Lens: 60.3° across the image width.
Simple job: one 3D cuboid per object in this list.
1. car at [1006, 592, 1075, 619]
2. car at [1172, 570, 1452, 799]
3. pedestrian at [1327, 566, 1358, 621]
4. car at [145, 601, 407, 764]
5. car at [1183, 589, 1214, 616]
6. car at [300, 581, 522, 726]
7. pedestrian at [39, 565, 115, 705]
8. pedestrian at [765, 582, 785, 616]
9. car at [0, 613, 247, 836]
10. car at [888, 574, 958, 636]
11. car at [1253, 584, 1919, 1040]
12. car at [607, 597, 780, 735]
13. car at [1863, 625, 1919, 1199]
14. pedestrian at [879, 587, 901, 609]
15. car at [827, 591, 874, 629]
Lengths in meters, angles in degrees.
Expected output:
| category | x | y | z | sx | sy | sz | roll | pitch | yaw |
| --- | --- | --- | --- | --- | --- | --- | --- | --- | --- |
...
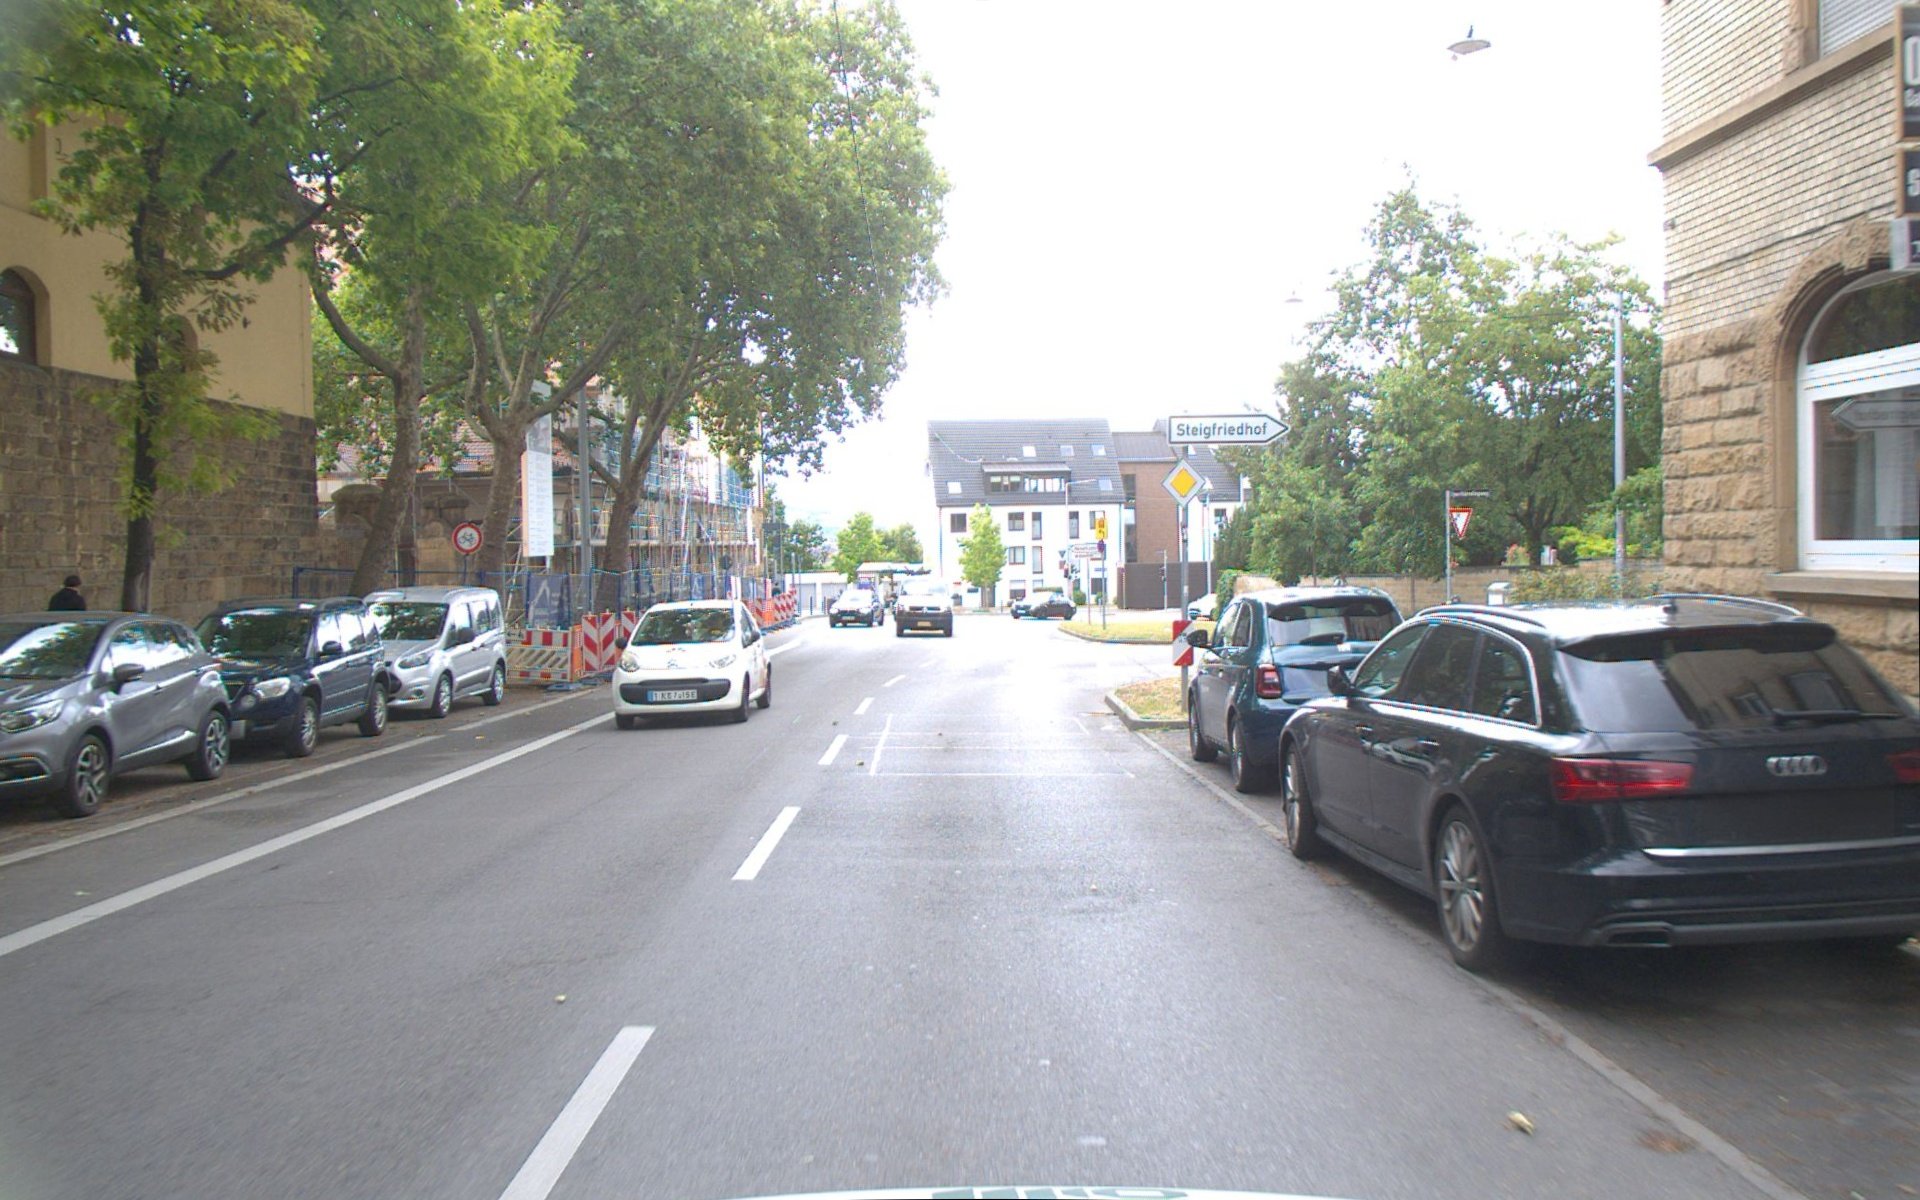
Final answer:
| category | x | y | z | sx | sy | sz | roll | pitch | yaw |
| --- | --- | --- | --- | --- | --- | --- | --- | --- | --- |
| car | 4.519 | 0.287 | 92.479 | 1.673 | 1.451 | 4.228 | 0 | 0 | 39 |
| car | 2.828 | 0.613 | 14.011 | 1.533 | 1.638 | 3.653 | -2 | 0 | -1 |
| pedestrian | 12.382 | -0.206 | 53.544 | 0.703 | 1.765 | 0.653 | 1 | -1 | -34 |
| car | -7.723 | 0.868 | 19.081 | 1.478 | 1.660 | 4.113 | 1 | 0 | -3 |
| car | 15.634 | 0.165 | 108.264 | 1.753 | 1.639 | 4.513 | -1 | 1 | 11 |
| car | -8.008 | 0.713 | 24.575 | 1.796 | 1.909 | 4.416 | -2 | 0 | 0 |
| pedestrian | -11.816 | 0.461 | 22.139 | 0.580 | 1.831 | 0.742 | 1 | -1 | 0 |
| pedestrian | -9.584 | -0.033 | 85.626 | 0.903 | 1.750 | 0.799 | 1 | -1 | 2 |
| car | -7.656 | 0.929 | 14.137 | 1.562 | 1.601 | 4.084 | 1 | 0 | -4 |
| car | -1.176 | 0.147 | 55.283 | 2.159 | 1.965 | 5.240 | -1 | 0 | 0 |
| car | 2.845 | 0.716 | 8.112 | 1.704 | 1.488 | 4.773 | -3 | 0 | -3 |
| car | -3.279 | 0.761 | 20.973 | 1.551 | 1.489 | 3.651 | -3 | 0 | -1 |
| car | 2.989 | 0.741 | 1.756 | 1.573 | 1.421 | 4.274 | -3 | 0 | -2 |
| pedestrian | -3.941 | -0.135 | 92.820 | 0.914 | 1.213 | 0.904 | 1 | -1 | 28 |
| car | -4.420 | 0.380 | 67.150 | 1.665 | 1.451 | 4.249 | -1 | 0 | -1 |
